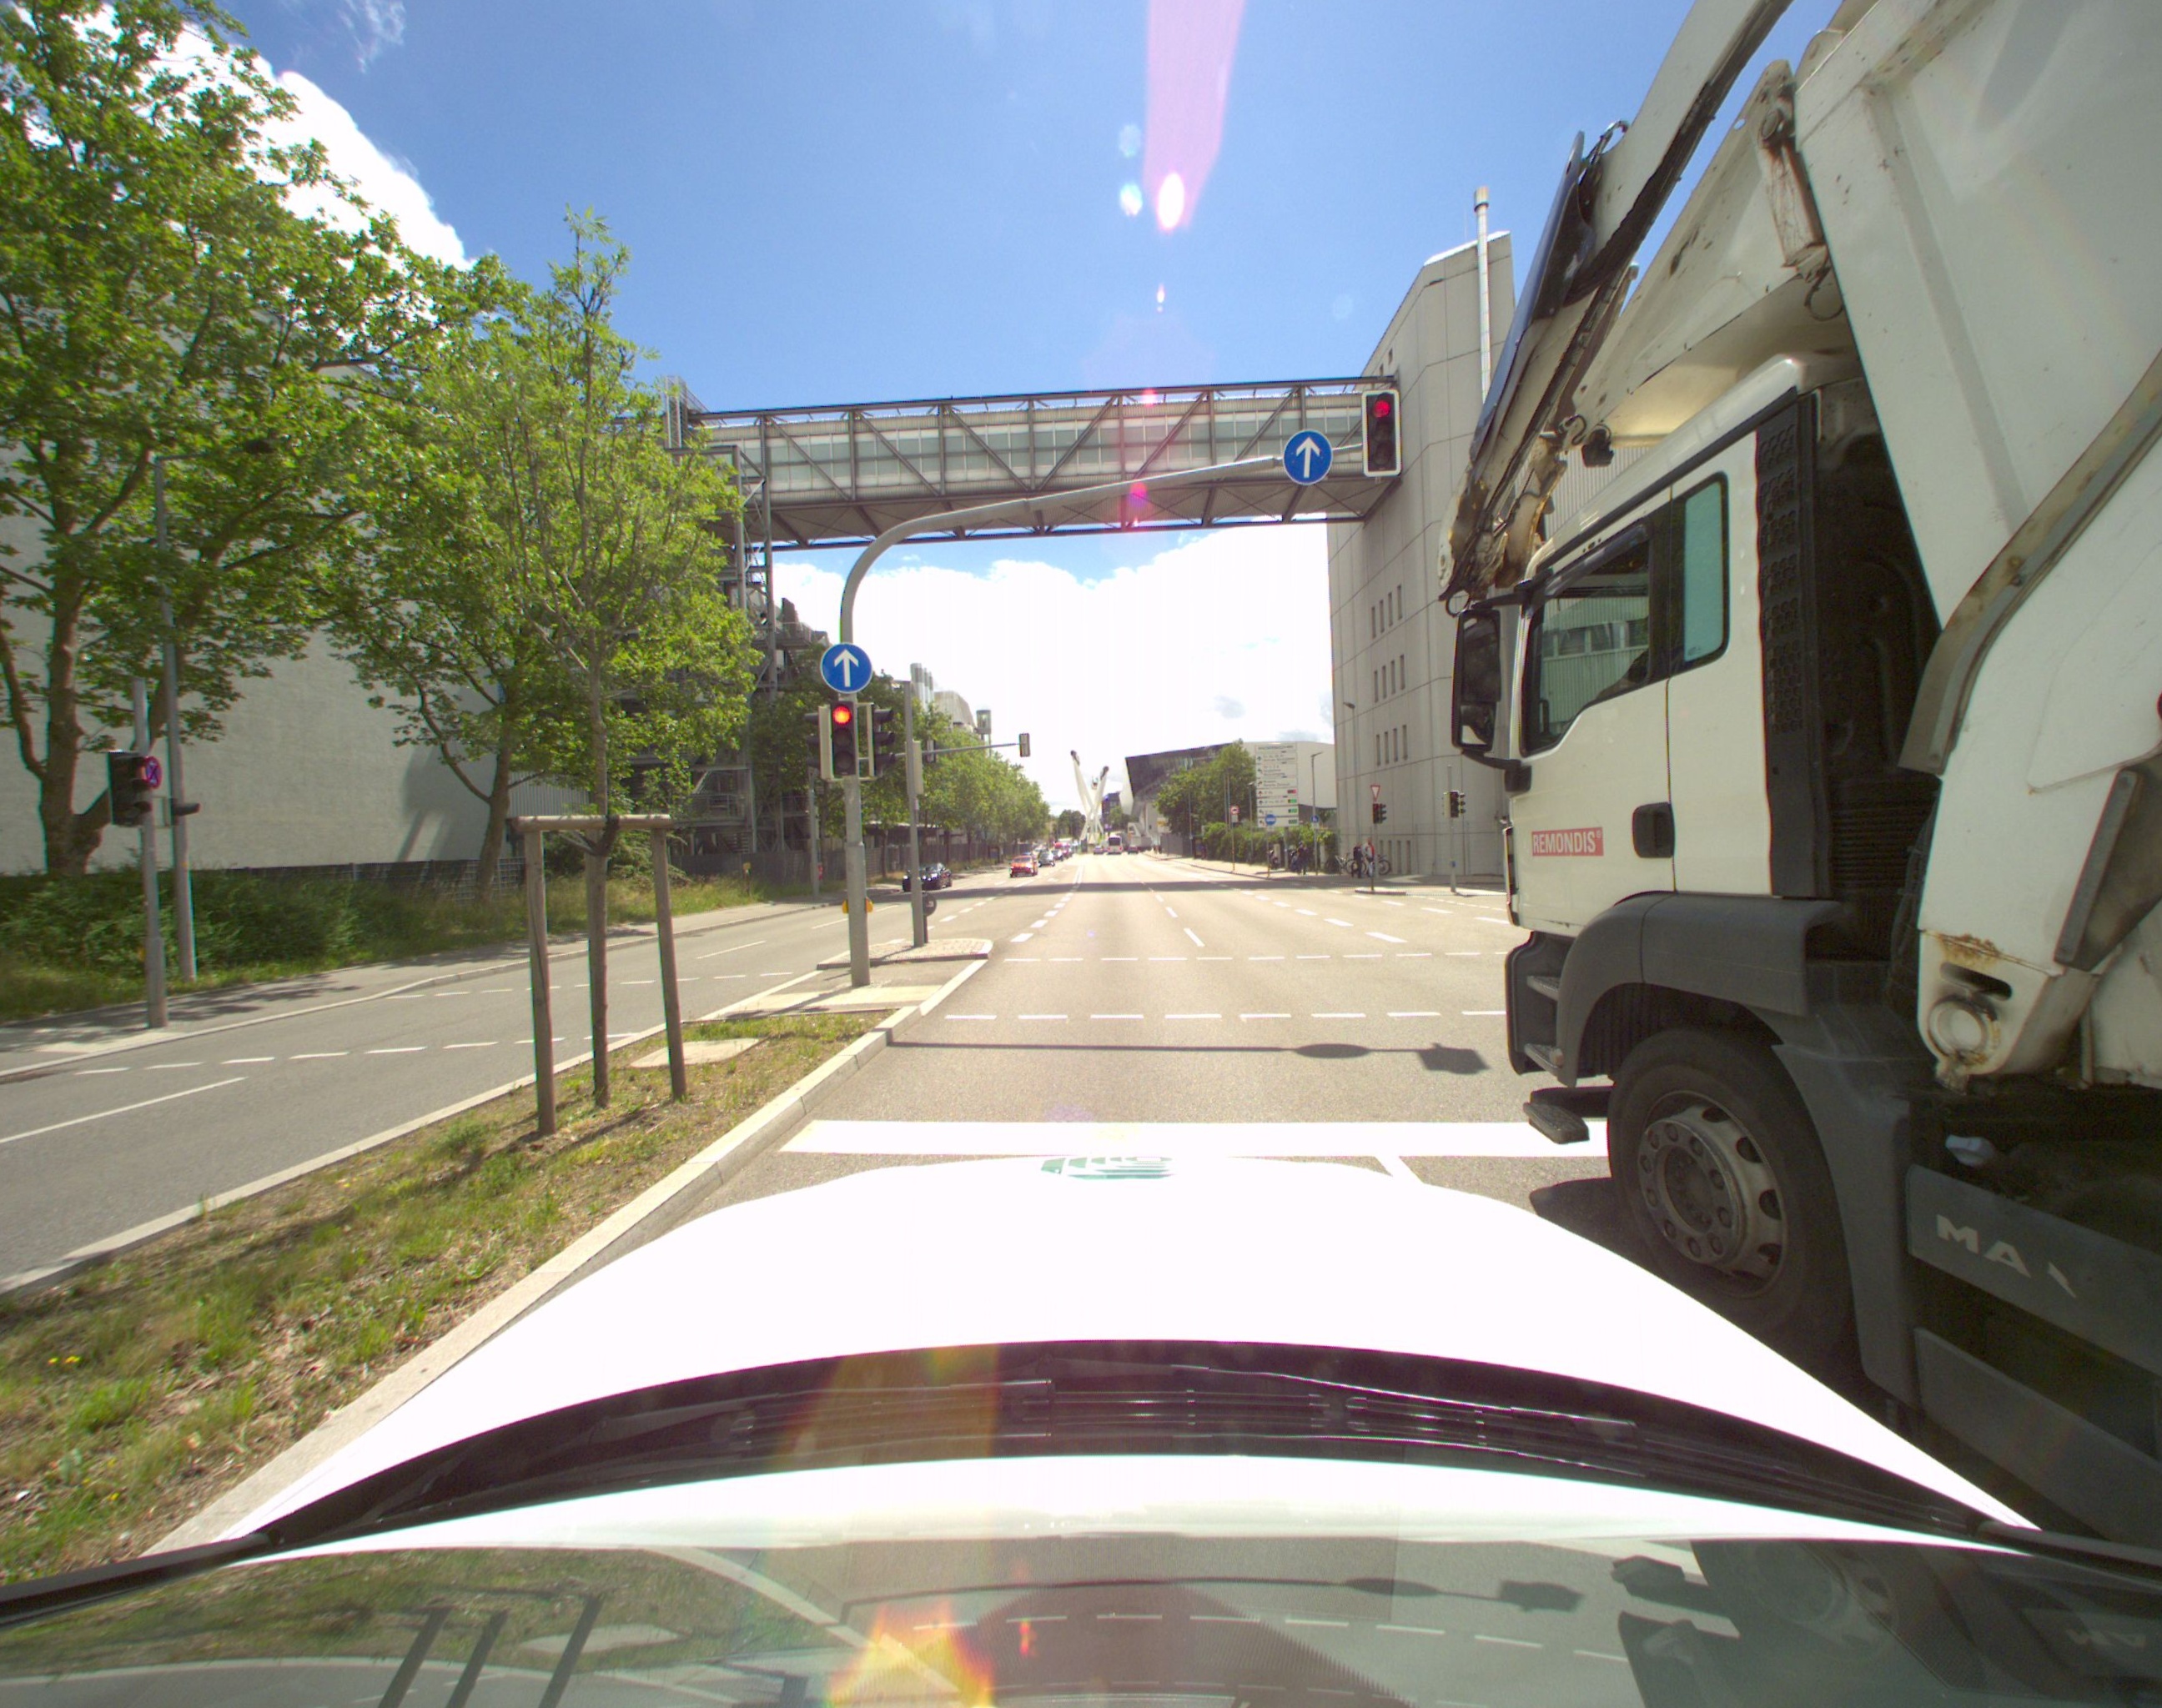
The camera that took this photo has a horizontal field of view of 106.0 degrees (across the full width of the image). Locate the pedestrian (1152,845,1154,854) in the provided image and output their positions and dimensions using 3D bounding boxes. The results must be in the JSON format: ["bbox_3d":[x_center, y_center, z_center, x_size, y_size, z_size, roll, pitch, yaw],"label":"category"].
[{"bbox_3d":[12.110,-0.778,137.150,0.384,1.421,0.424,0,-1,2],"label":"pedestrian"}]

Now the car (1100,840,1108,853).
[{"bbox_3d":[4.836,-1.580,171.298,1.837,2.624,4.001,0,-1,1],"label":"car"}]

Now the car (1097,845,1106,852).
[{"bbox_3d":[3.752,-1.013,148.854,1.551,1.273,3.704,-4,0,3],"label":"car"}]

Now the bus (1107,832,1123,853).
[{"bbox_3d":[6.303,-2.088,150.224,2.776,3.686,6.947,0,-1,3],"label":"bus"}]

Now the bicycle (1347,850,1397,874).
[{"bbox_3d":[13.760,0.390,38.496,2.166,1.086,0.480,-1,-1,37],"label":"bicycle"}]

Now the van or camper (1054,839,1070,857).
[{"bbox_3d":[-2.826,-0.901,122.164,2.038,2.466,5.598,-1,0,3],"label":"van or camper"}]

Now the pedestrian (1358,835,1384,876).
[{"bbox_3d":[13.272,0.073,37.274,0.695,1.793,0.706,-4,0,-27],"label":"pedestrian"}]

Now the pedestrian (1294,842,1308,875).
[{"bbox_3d":[11.290,0.236,41.778,0.532,1.640,0.657,0,-1,-4],"label":"pedestrian"}]

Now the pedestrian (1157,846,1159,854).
[{"bbox_3d":[12.855,-0.667,136.062,0.384,1.421,0.424,0,-1,2],"label":"pedestrian"}]

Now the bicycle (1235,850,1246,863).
[{"bbox_3d":[12.726,0.174,65.131,0.417,1.022,1.911,0,-1,-2],"label":"bicycle"}]

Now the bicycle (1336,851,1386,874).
[{"bbox_3d":[13.518,0.399,39.362,2.196,1.086,0.480,-1,-1,37],"label":"bicycle"}]

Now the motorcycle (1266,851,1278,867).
[{"bbox_3d":[12.175,0.336,51.873,0.455,1.022,1.914,0,-1,4],"label":"motorcycle"}]

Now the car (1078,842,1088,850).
[{"bbox_3d":[0.422,-1.532,155.899,1.551,1.273,3.704,-4,0,3],"label":"car"}]

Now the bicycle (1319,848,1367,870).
[{"bbox_3d":[13.085,0.276,40.706,2.196,1.086,0.480,-1,-1,37],"label":"bicycle"}]

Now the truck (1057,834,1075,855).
[{"bbox_3d":[-2.507,-1.519,136.717,2.581,3.324,7.083,0,-1,3],"label":"truck"}]

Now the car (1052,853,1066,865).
[{"bbox_3d":[-2.861,0.641,107.056,1.551,1.448,3.775,-4,0,3],"label":"car"}]

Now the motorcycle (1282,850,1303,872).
[{"bbox_3d":[11.651,0.395,44.896,0.418,1.166,1.951,0,-1,-9],"label":"motorcycle"}]

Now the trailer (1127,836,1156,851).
[{"bbox_3d":[12.843,-2.144,172.184,3.291,2.995,10.429,-1,-1,21],"label":"trailer"}]

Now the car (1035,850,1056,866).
[{"bbox_3d":[-3.659,0.401,84.260,1.762,1.420,3.704,-4,0,3],"label":"car"}]

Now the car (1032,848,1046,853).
[{"bbox_3d":[-11.779,-0.933,227.892,3.723,1.273,1.543,-4,0,-45],"label":"car"}]

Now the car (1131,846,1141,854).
[{"bbox_3d":[9.884,-0.733,146.187,1.551,1.273,3.704,-4,0,3],"label":"car"}]

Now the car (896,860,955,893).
[{"bbox_3d":[-8.155,1.131,43.255,1.910,1.488,4.775,-4,0,3],"label":"car"}]

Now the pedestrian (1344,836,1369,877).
[{"bbox_3d":[12.507,0.132,37.011,0.645,1.793,0.705,-4,0,-28],"label":"pedestrian"}]

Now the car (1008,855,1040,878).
[{"bbox_3d":[-3.987,0.838,57.517,1.762,1.420,3.704,-4,0,3],"label":"car"}]

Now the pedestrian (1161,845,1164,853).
[{"bbox_3d":[13.552,-0.805,135.055,0.384,1.421,0.424,0,-1,2],"label":"pedestrian"}]
